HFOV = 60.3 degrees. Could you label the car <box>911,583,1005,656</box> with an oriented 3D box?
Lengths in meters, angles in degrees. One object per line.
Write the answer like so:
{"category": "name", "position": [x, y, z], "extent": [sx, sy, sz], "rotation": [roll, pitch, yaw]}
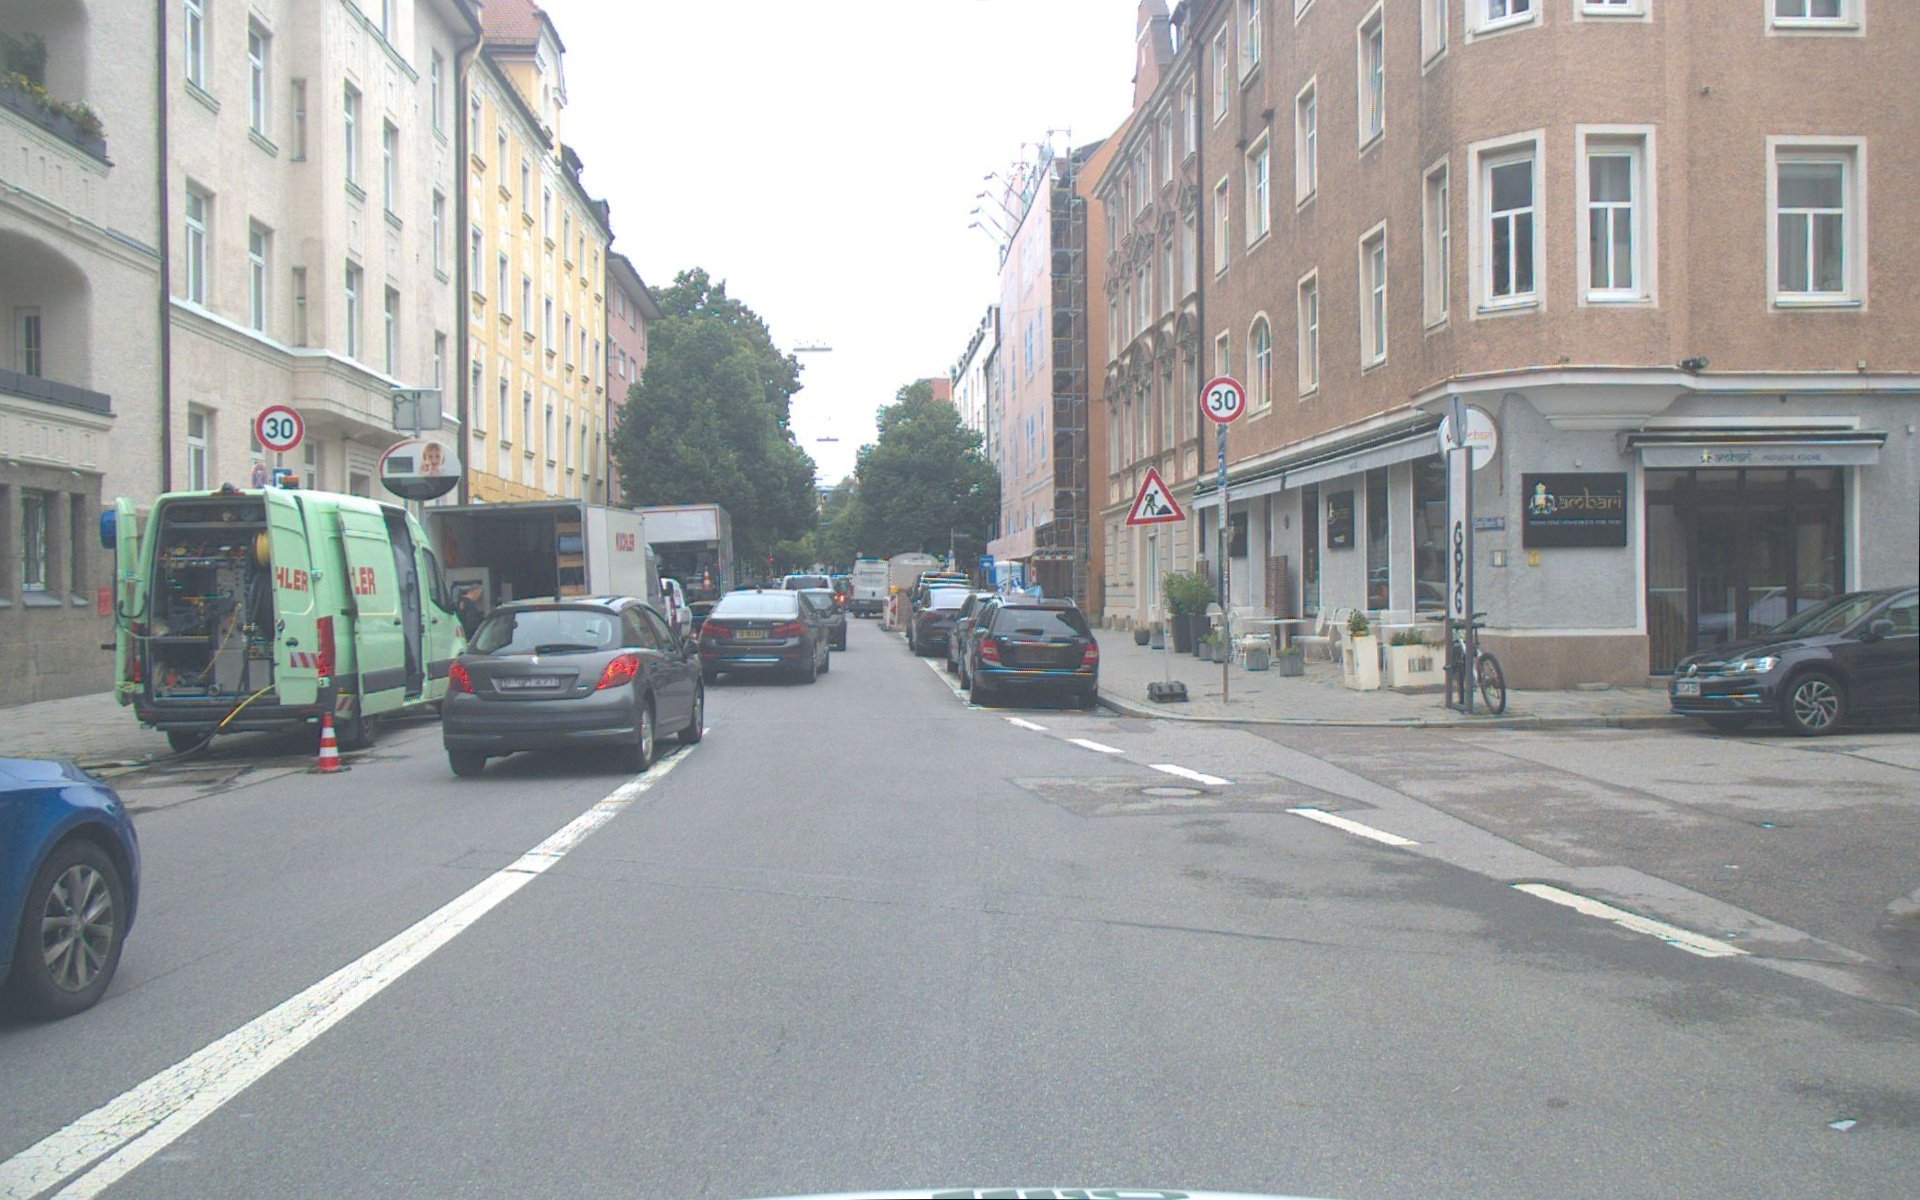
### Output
{"category": "car", "position": [-0.109, 0.407, 38.040], "extent": [1.808, 1.454, 4.303], "rotation": [2, 1, -5]}

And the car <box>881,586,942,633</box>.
{"category": "car", "position": [-1.639, 0.291, 55.315], "extent": [1.950, 1.454, 4.139], "rotation": [-1, 1, -3]}

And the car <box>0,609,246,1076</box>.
{"category": "car", "position": [-4.092, 0.780, 4.478], "extent": [1.945, 1.479, 4.737], "rotation": [-1, 0, 5]}

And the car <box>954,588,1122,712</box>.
{"category": "car", "position": [0.999, 0.626, 23.244], "extent": [1.808, 1.454, 4.180], "rotation": [2, 1, -5]}

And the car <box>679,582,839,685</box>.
{"category": "car", "position": [-3.175, 0.469, 27.077], "extent": [1.949, 1.454, 4.906], "rotation": [-1, 1, 0]}

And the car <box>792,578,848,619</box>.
{"category": "car", "position": [-5.354, -0.069, 63.587], "extent": [1.950, 1.454, 4.139], "rotation": [-1, 1, -3]}

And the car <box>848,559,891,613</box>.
{"category": "car", "position": [-4.256, -0.667, 78.618], "extent": [1.900, 2.523, 4.781], "rotation": [0, 0, -2]}

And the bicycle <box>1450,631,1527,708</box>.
{"category": "bicycle", "position": [6.029, 0.783, 18.924], "extent": [0.447, 0.819, 1.326], "rotation": [0, 0, -1]}

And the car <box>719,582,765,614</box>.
{"category": "car", "position": [-10.308, -0.123, 78.406], "extent": [1.901, 1.473, 3.863], "rotation": [0, 0, -4]}

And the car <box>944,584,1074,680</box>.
{"category": "car", "position": [0.787, 0.509, 29.131], "extent": [1.808, 1.454, 4.137], "rotation": [2, 1, -5]}

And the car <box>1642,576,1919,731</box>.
{"category": "car", "position": [9.407, 0.522, 16.885], "extent": [4.086, 1.454, 1.924], "rotation": [-1, -2, -3]}

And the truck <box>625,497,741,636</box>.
{"category": "truck", "position": [-8.521, -1.003, 51.672], "extent": [2.953, 4.021, 6.989], "rotation": [0, 0, -5]}

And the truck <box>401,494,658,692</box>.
{"category": "truck", "position": [-7.088, -0.187, 28.341], "extent": [2.717, 2.923, 7.199], "rotation": [-1, 1, -2]}

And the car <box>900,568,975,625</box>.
{"category": "car", "position": [-0.673, -0.132, 45.786], "extent": [1.950, 1.454, 4.139], "rotation": [-1, 1, -3]}

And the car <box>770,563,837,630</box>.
{"category": "car", "position": [-5.078, -0.155, 54.137], "extent": [1.950, 2.111, 4.139], "rotation": [-1, 1, -3]}

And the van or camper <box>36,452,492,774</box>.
{"category": "van or camper", "position": [-7.169, 0.041, 18.078], "extent": [2.548, 2.889, 6.183], "rotation": [-1, 1, -3]}

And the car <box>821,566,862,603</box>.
{"category": "car", "position": [-6.371, -0.836, 89.229], "extent": [1.953, 1.937, 3.999], "rotation": [0, 0, -1]}

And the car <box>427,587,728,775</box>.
{"category": "car", "position": [-3.356, 0.641, 15.303], "extent": [1.722, 1.486, 4.075], "rotation": [-1, 0, 1]}

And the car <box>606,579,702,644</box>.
{"category": "car", "position": [-8.069, 0.269, 43.934], "extent": [1.950, 1.639, 4.138], "rotation": [0, 0, -3]}

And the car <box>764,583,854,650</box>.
{"category": "car", "position": [-3.605, 0.360, 40.084], "extent": [1.950, 1.454, 4.139], "rotation": [-1, 1, -3]}

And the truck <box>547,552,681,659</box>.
{"category": "truck", "position": [-7.566, 0.087, 36.609], "extent": [2.241, 2.209, 4.803], "rotation": [0, 0, -4]}

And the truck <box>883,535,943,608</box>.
{"category": "truck", "position": [-2.083, -1.220, 71.568], "extent": [2.442, 3.025, 5.323], "rotation": [0, 0, -4]}
